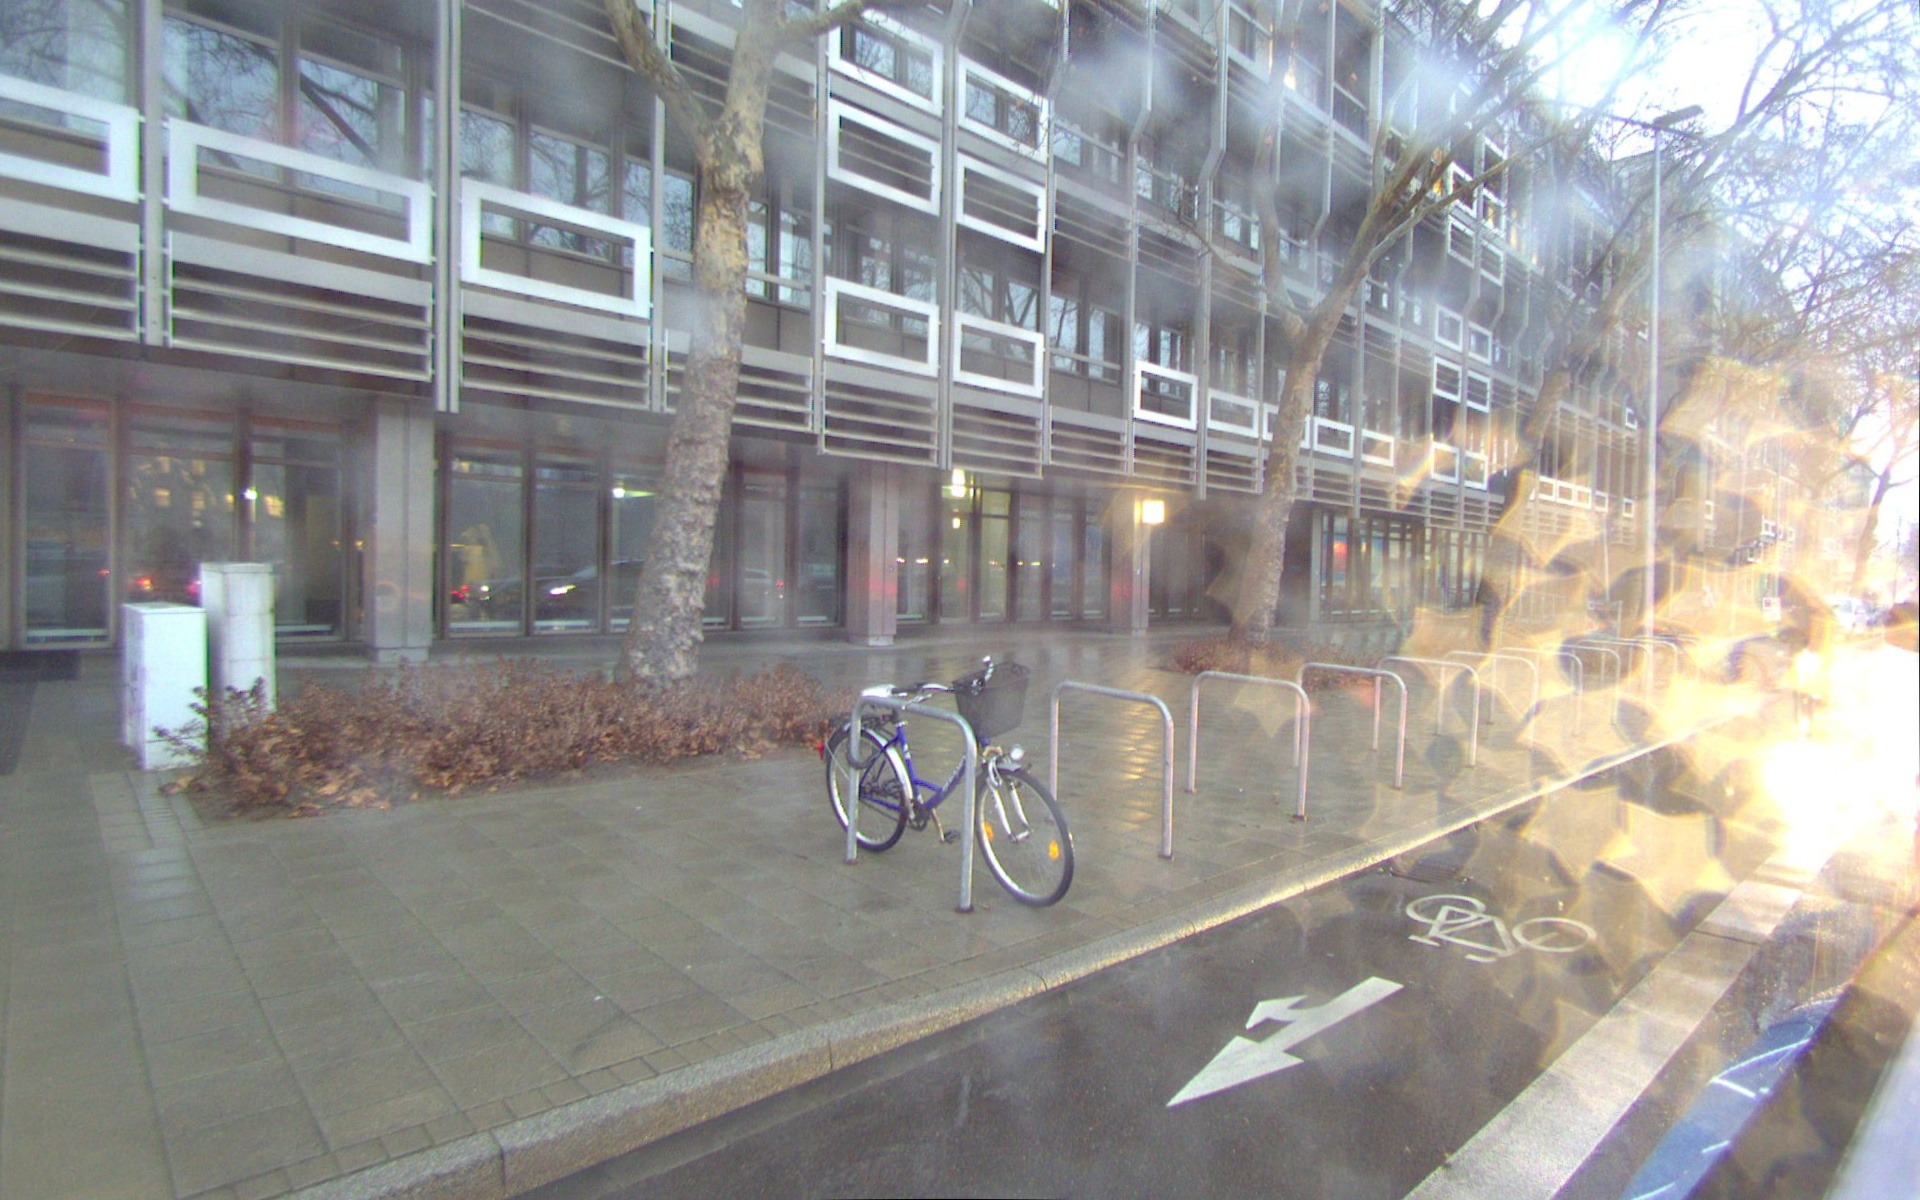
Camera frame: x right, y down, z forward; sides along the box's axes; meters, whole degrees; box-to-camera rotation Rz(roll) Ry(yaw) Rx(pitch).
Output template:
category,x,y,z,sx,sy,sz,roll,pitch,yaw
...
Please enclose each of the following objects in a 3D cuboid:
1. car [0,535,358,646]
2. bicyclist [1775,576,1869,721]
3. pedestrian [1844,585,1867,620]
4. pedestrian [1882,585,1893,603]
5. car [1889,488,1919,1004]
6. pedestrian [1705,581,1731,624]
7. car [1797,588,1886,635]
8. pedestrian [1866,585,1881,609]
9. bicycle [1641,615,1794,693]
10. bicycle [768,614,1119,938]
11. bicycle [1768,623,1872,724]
category,x,y,z,sx,sy,sz,roll,pitch,yaw
car,-10.801,-0.168,14.068,3.929,1.326,1.998,0,3,-40
bicyclist,10.520,0.565,12.345,0.947,1.681,0.704,1,1,-41
pedestrian,45.950,0.134,51.928,0.765,1.771,0.913,2,2,45
pedestrian,93.588,-0.610,102.106,0.765,1.771,0.913,2,2,45
car,5.486,0.511,4.355,3.932,1.864,1.875,-1,0,-43
pedestrian,32.427,0.099,43.295,0.765,1.771,0.913,2,2,45
car,29.460,0.343,33.780,3.930,1.482,1.711,-1,1,-41
pedestrian,70.337,-0.245,77.904,0.765,1.771,0.913,2,2,45
bicycle,11.673,0.797,15.633,0.864,1.004,1.704,0,4,-41
bicycle,-0.164,0.710,4.870,0.629,1.145,1.810,2,2,-41
bicycle,10.538,0.861,12.379,1.752,1.108,0.709,1,0,-41
